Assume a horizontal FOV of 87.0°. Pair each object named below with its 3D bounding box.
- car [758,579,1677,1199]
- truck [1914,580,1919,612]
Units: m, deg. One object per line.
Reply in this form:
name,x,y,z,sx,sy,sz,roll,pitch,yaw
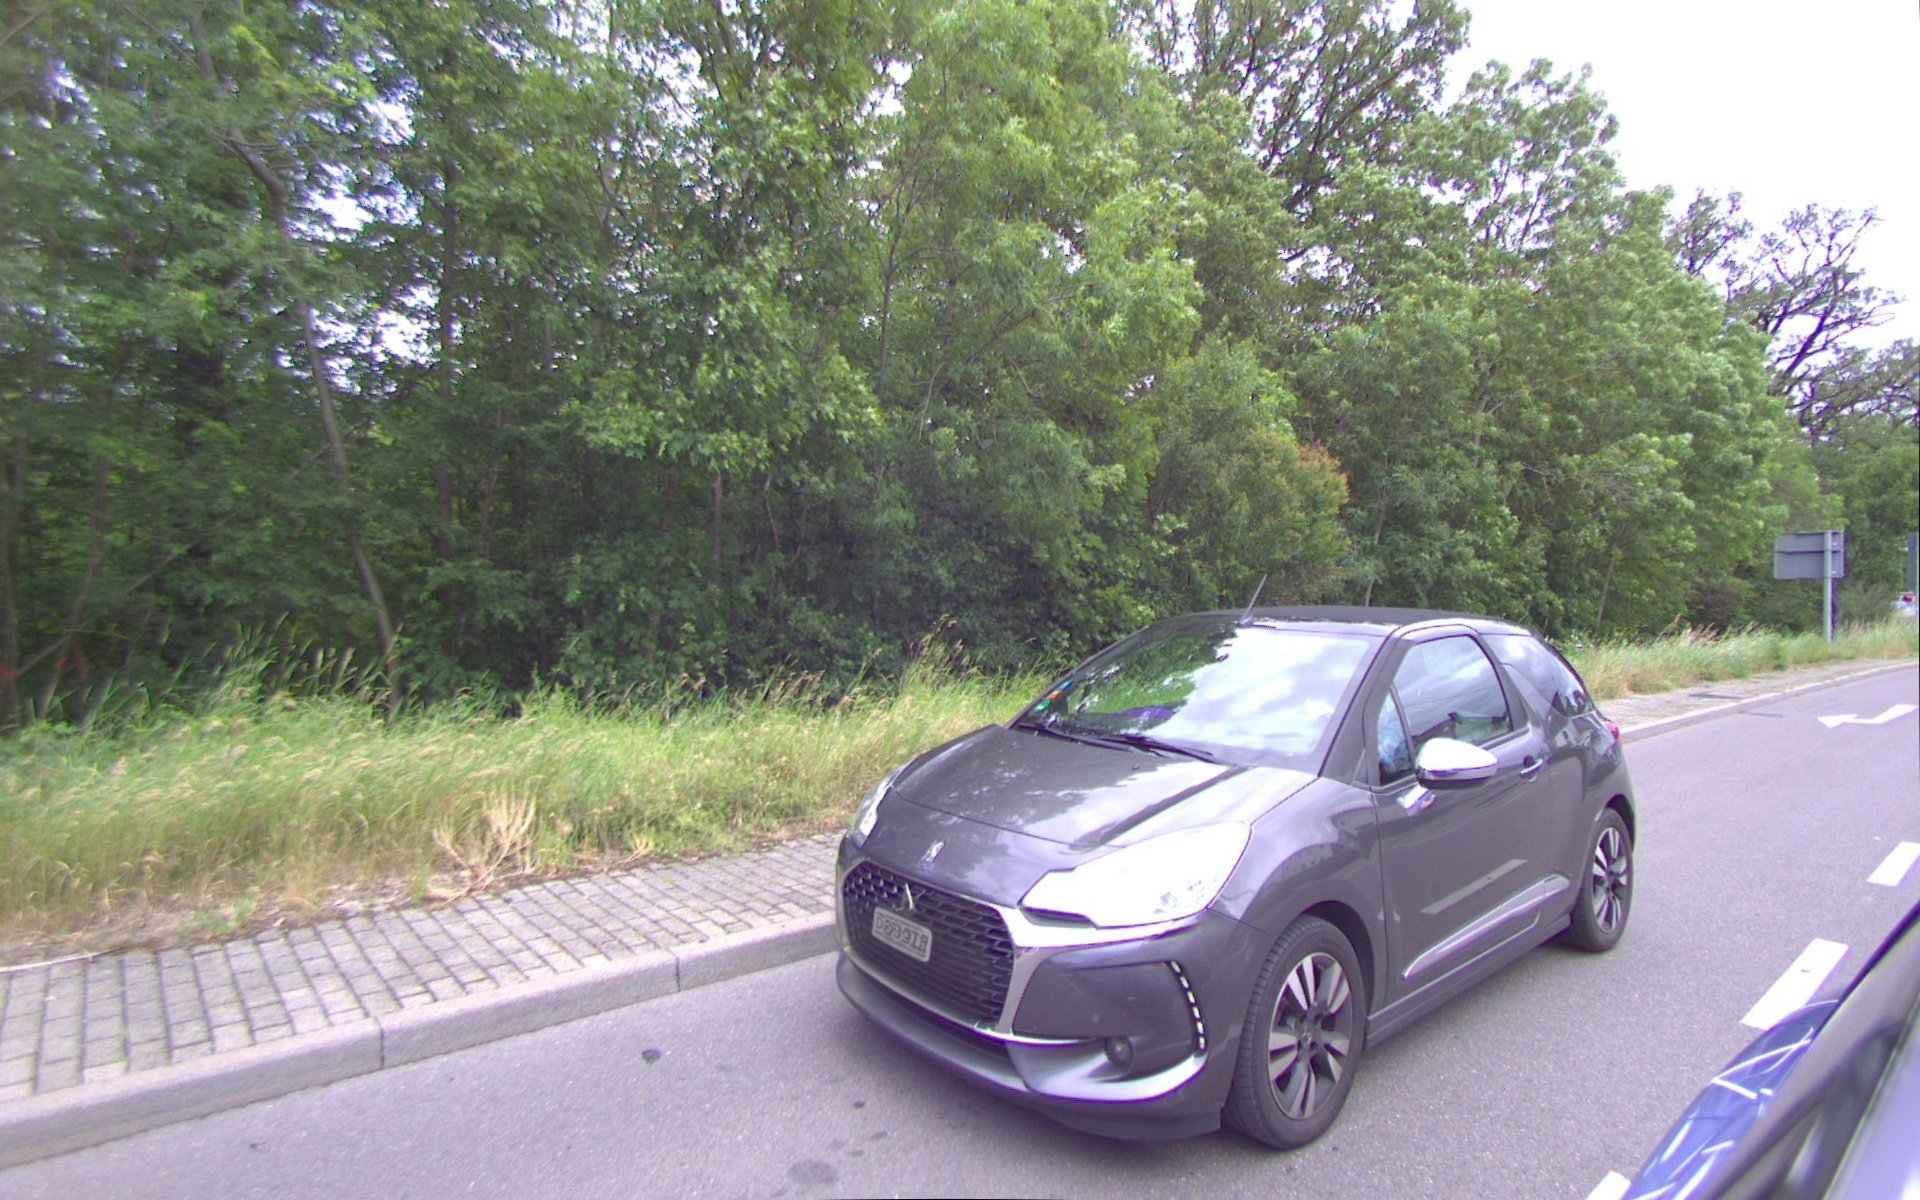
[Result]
car,1.289,0.685,4.101,3.786,1.476,1.729,0,0,-40
truck,111.775,-0.434,115.998,2.995,3.685,6.985,1,1,40
